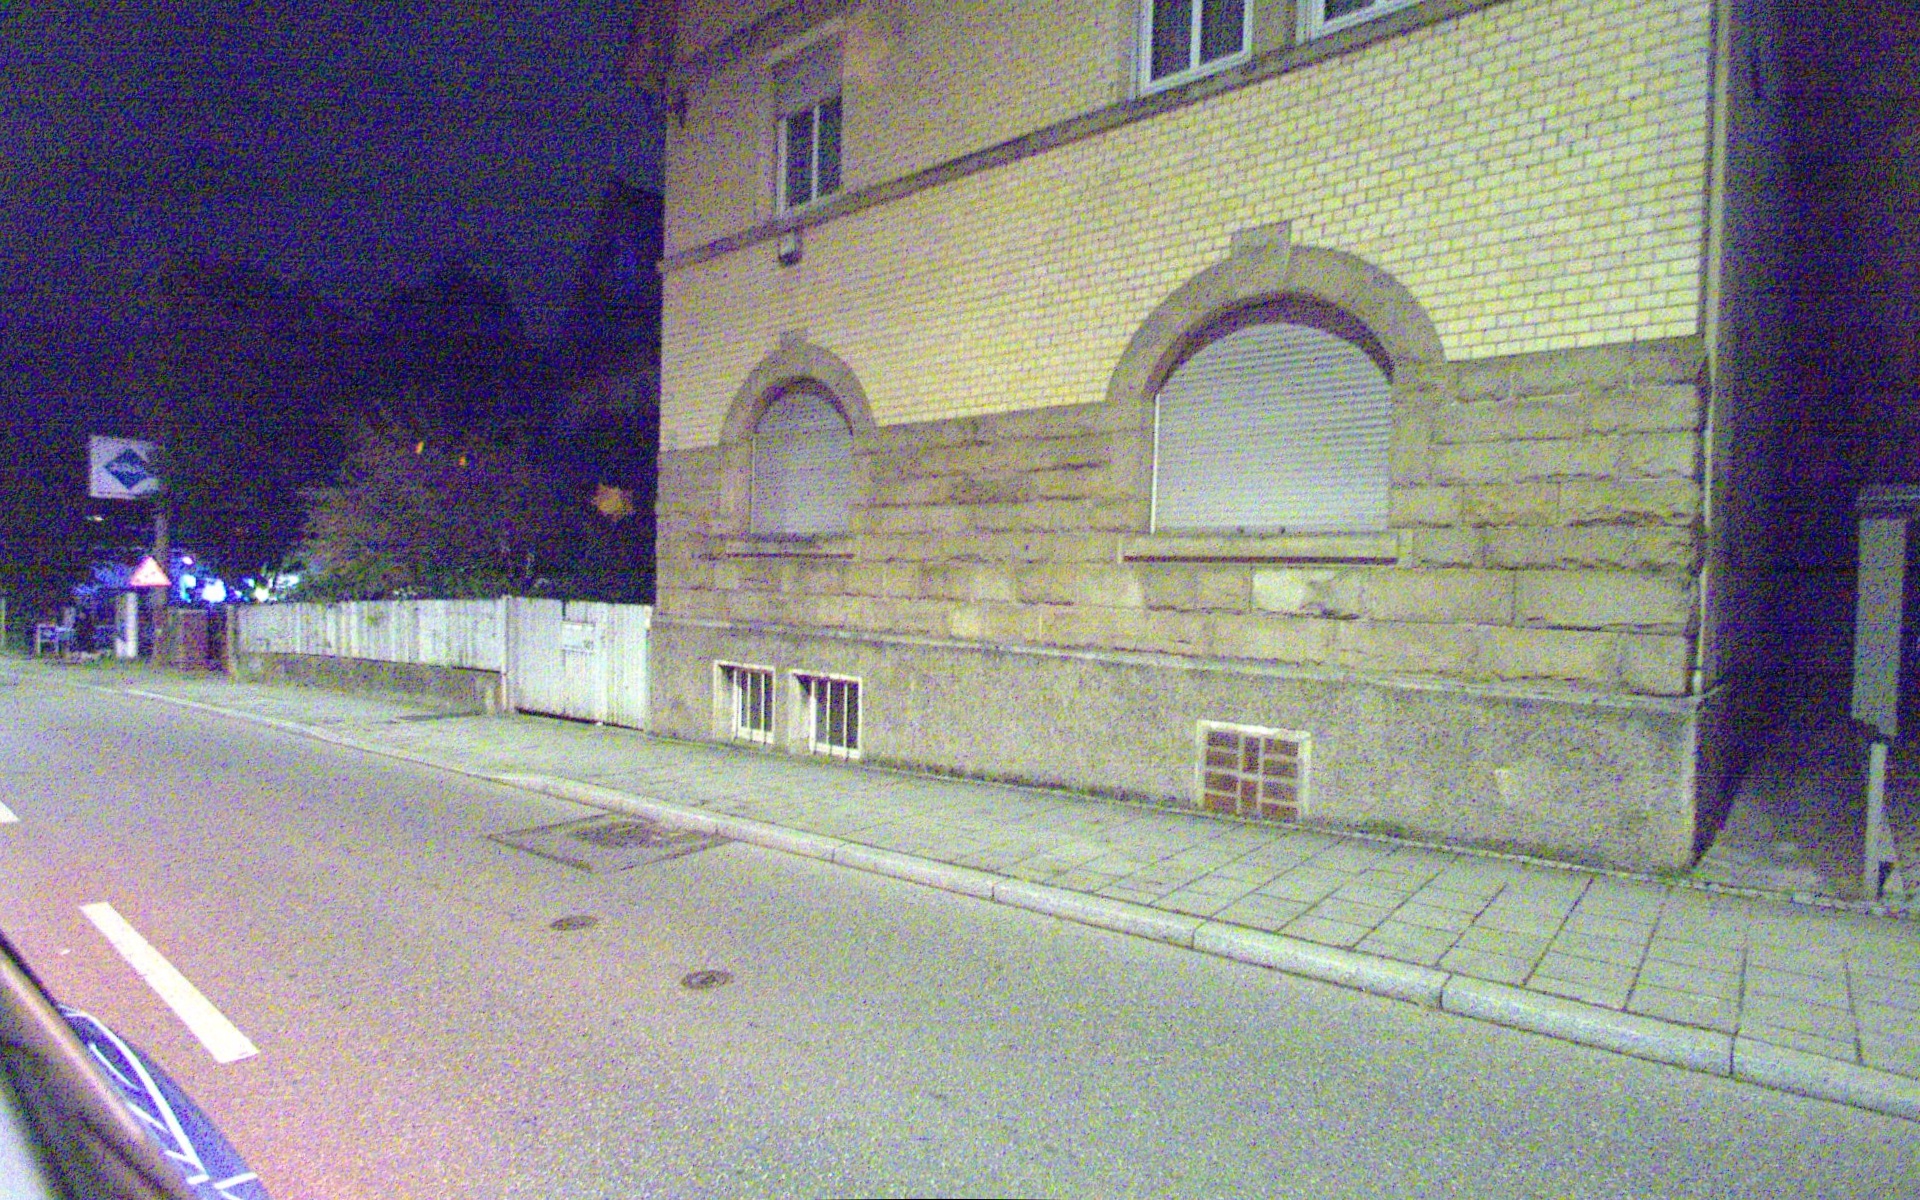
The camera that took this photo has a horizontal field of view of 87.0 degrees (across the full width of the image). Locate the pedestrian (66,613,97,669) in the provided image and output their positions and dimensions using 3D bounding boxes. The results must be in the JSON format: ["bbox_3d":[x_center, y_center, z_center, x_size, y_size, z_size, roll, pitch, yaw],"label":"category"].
[{"bbox_3d":[-28.300,1.301,32.603,0.500,1.773,0.664,-1,0,41],"label":"pedestrian"}]
